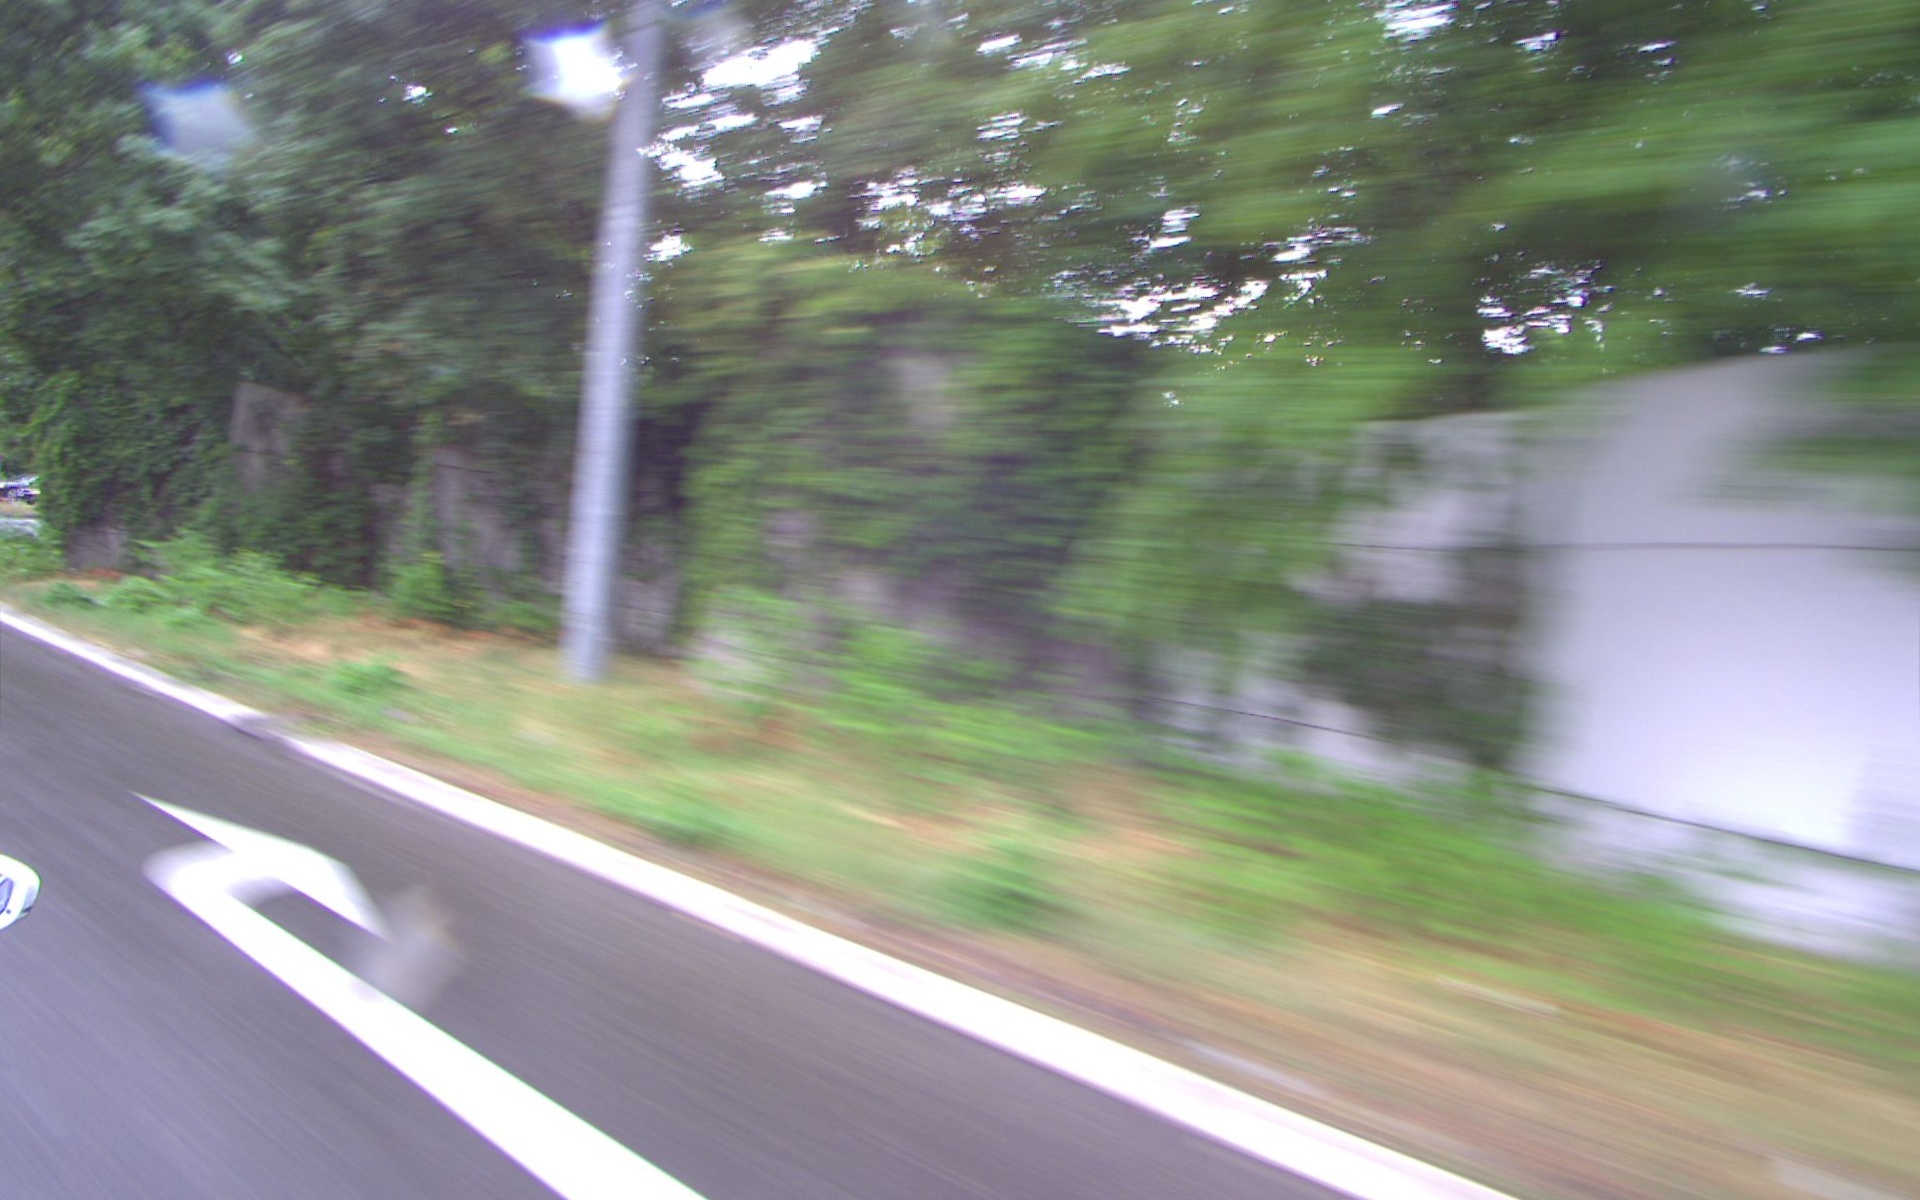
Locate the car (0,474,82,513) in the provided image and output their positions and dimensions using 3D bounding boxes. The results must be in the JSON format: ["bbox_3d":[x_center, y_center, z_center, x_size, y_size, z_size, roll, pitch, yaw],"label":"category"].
[{"bbox_3d":[-46.885,-5.402,50.378,1.843,1.504,4.000,7,0,16],"label":"car"}]

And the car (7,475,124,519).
[{"bbox_3d":[-43.258,-4.951,48.731,1.641,1.504,3.865,6,0,20],"label":"car"}]

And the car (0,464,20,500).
[{"bbox_3d":[-53.382,-6.537,53.556,2.097,1.861,4.344,7,2,24],"label":"car"}]
